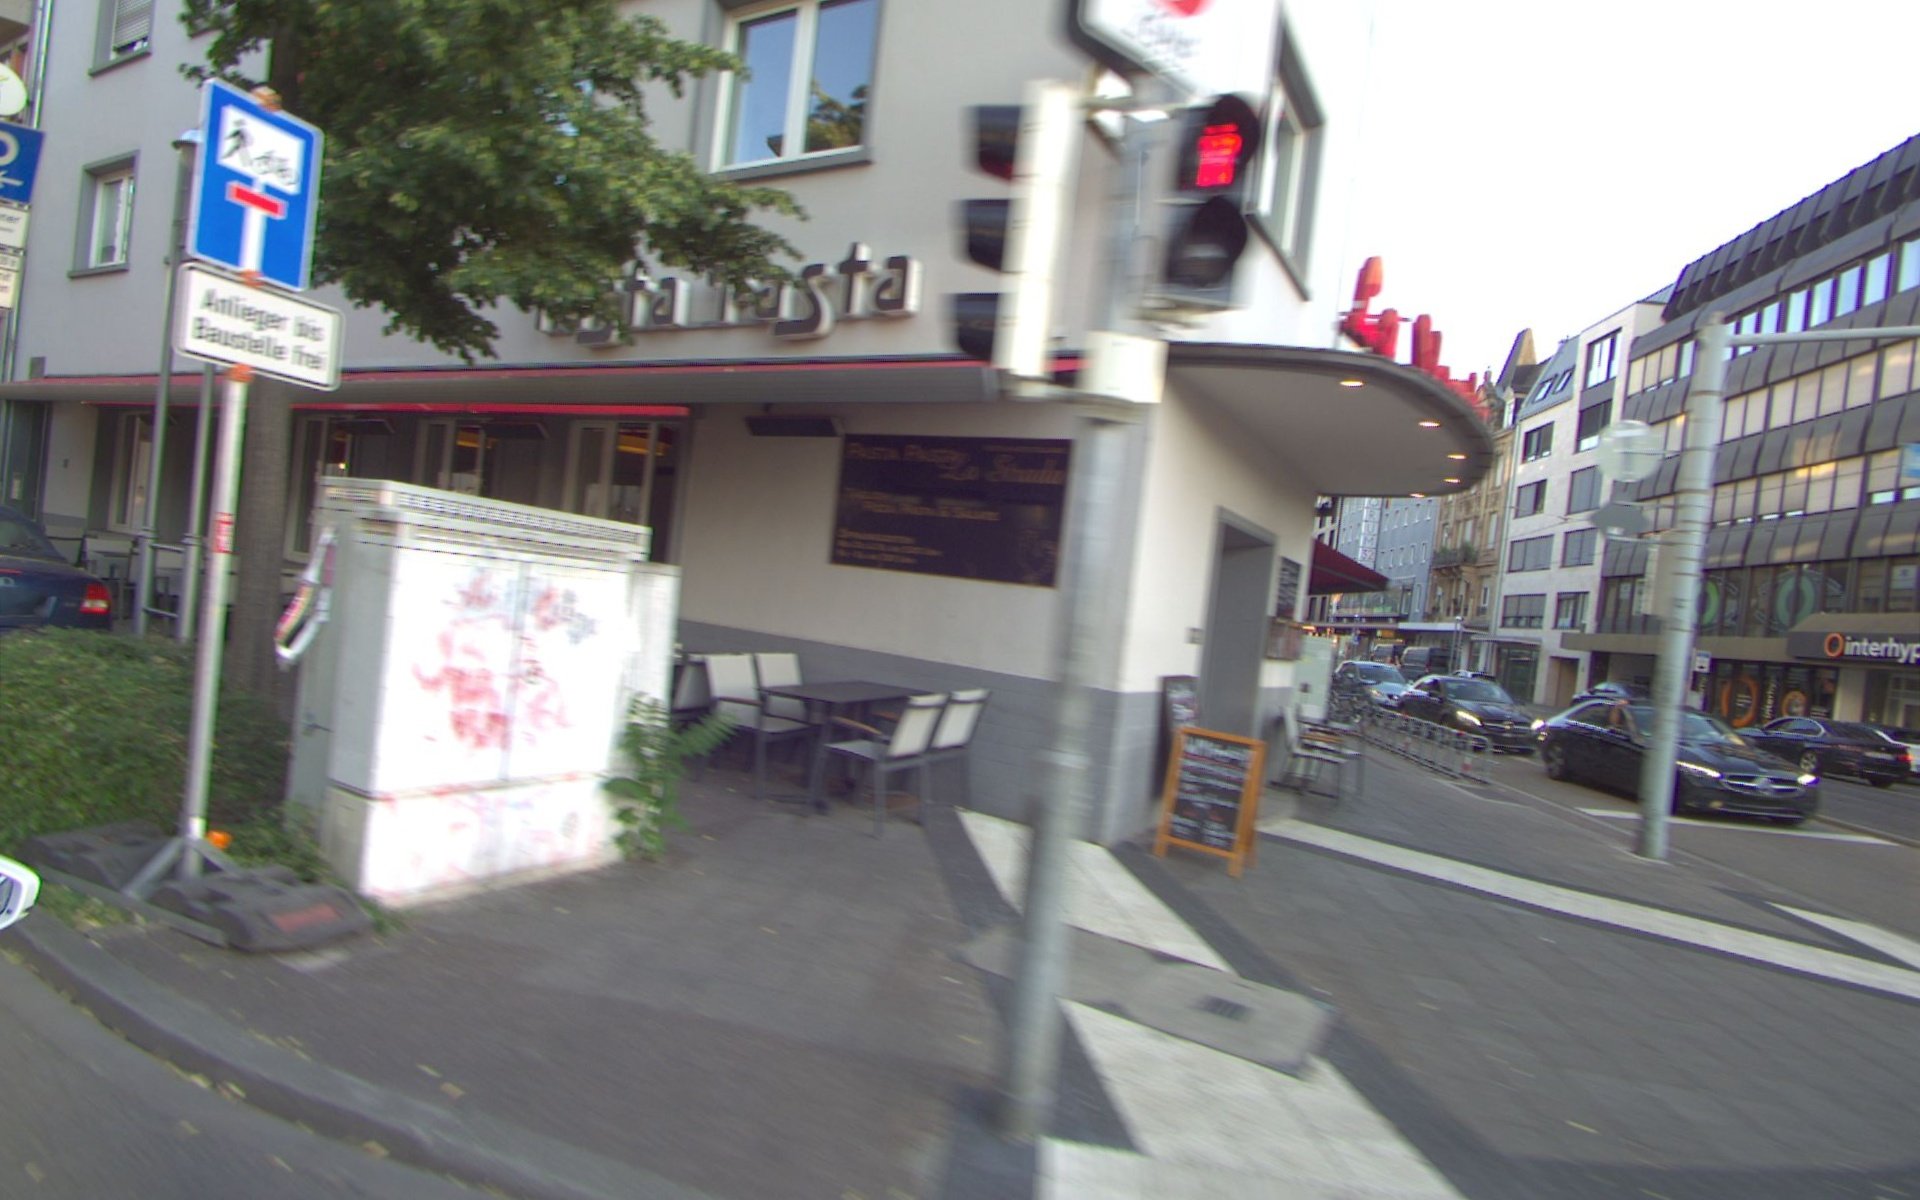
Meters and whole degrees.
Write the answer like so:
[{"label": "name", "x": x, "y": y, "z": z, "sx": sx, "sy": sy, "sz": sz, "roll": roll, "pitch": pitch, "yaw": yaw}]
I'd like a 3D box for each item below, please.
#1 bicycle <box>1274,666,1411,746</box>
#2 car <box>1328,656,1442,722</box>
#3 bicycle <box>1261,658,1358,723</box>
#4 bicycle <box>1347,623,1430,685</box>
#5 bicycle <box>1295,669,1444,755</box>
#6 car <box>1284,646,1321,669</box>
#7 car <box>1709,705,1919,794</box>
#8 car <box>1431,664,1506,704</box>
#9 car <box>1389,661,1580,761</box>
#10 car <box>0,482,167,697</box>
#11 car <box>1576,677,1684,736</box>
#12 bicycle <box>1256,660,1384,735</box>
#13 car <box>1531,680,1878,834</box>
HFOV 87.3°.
[{"label": "bicycle", "x": 7.271, "y": 2.015, "z": 19.190, "sx": 2.252, "sy": 1.207, "sz": 0.656, "roll": 7, "pitch": -1, "yaw": 1}, {"label": "car", "x": 11.741, "y": 2.424, "z": 28.068, "sx": 1.735, "sy": 1.436, "sz": 3.683, "roll": 7, "pitch": -2, "yaw": 5}, {"label": "bicycle", "x": 7.641, "y": 1.975, "z": 22.057, "sx": 1.773, "sy": 1.171, "sz": 0.677, "roll": 7, "pitch": 1, "yaw": 1}, {"label": "bicycle", "x": 13.718, "y": 1.684, "z": 32.342, "sx": 0.848, "sy": 1.653, "sz": 3.048, "roll": 8, "pitch": 1, "yaw": -7}, {"label": "bicycle", "x": 7.274, "y": 1.973, "z": 17.933, "sx": 2.252, "sy": 1.207, "sz": 0.656, "roll": 7, "pitch": -1, "yaw": 2}, {"label": "car", "x": 31.225, "y": 5.236, "z": 91.818, "sx": 2.030, "sy": 1.587, "sz": 4.511, "roll": 10, "pitch": 0, "yaw": 7}, {"label": "car", "x": 21.399, "y": 3.653, "z": 25.165, "sx": 1.962, "sy": 1.437, "sz": 4.511, "roll": 7, "pitch": -1, "yaw": 3}, {"label": "car", "x": 24.275, "y": 3.995, "z": 48.192, "sx": 1.738, "sy": 1.401, "sz": 4.511, "roll": 7, "pitch": 0, "yaw": 9}, {"label": "car", "x": 10.971, "y": 2.261, "z": 21.464, "sx": 1.962, "sy": 1.542, "sz": 4.400, "roll": 5, "pitch": 0, "yaw": 5}, {"label": "car", "x": -8.068, "y": -0.288, "z": 7.417, "sx": 4.110, "sy": 1.392, "sz": 1.941, "roll": 7, "pitch": -1, "yaw": 29}, {"label": "car", "x": 26.042, "y": 4.106, "z": 39.279, "sx": 1.779, "sy": 1.651, "sz": 3.752, "roll": 10, "pitch": 0, "yaw": 7}, {"label": "bicycle", "x": 7.393, "y": 1.993, "z": 20.726, "sx": 2.252, "sy": 1.208, "sz": 0.655, "roll": 7, "pitch": 1, "yaw": 1}, {"label": "car", "x": 10.550, "y": 2.138, "z": 14.795, "sx": 1.944, "sy": 1.487, "sz": 4.483, "roll": 6, "pitch": -1, "yaw": 5}]
